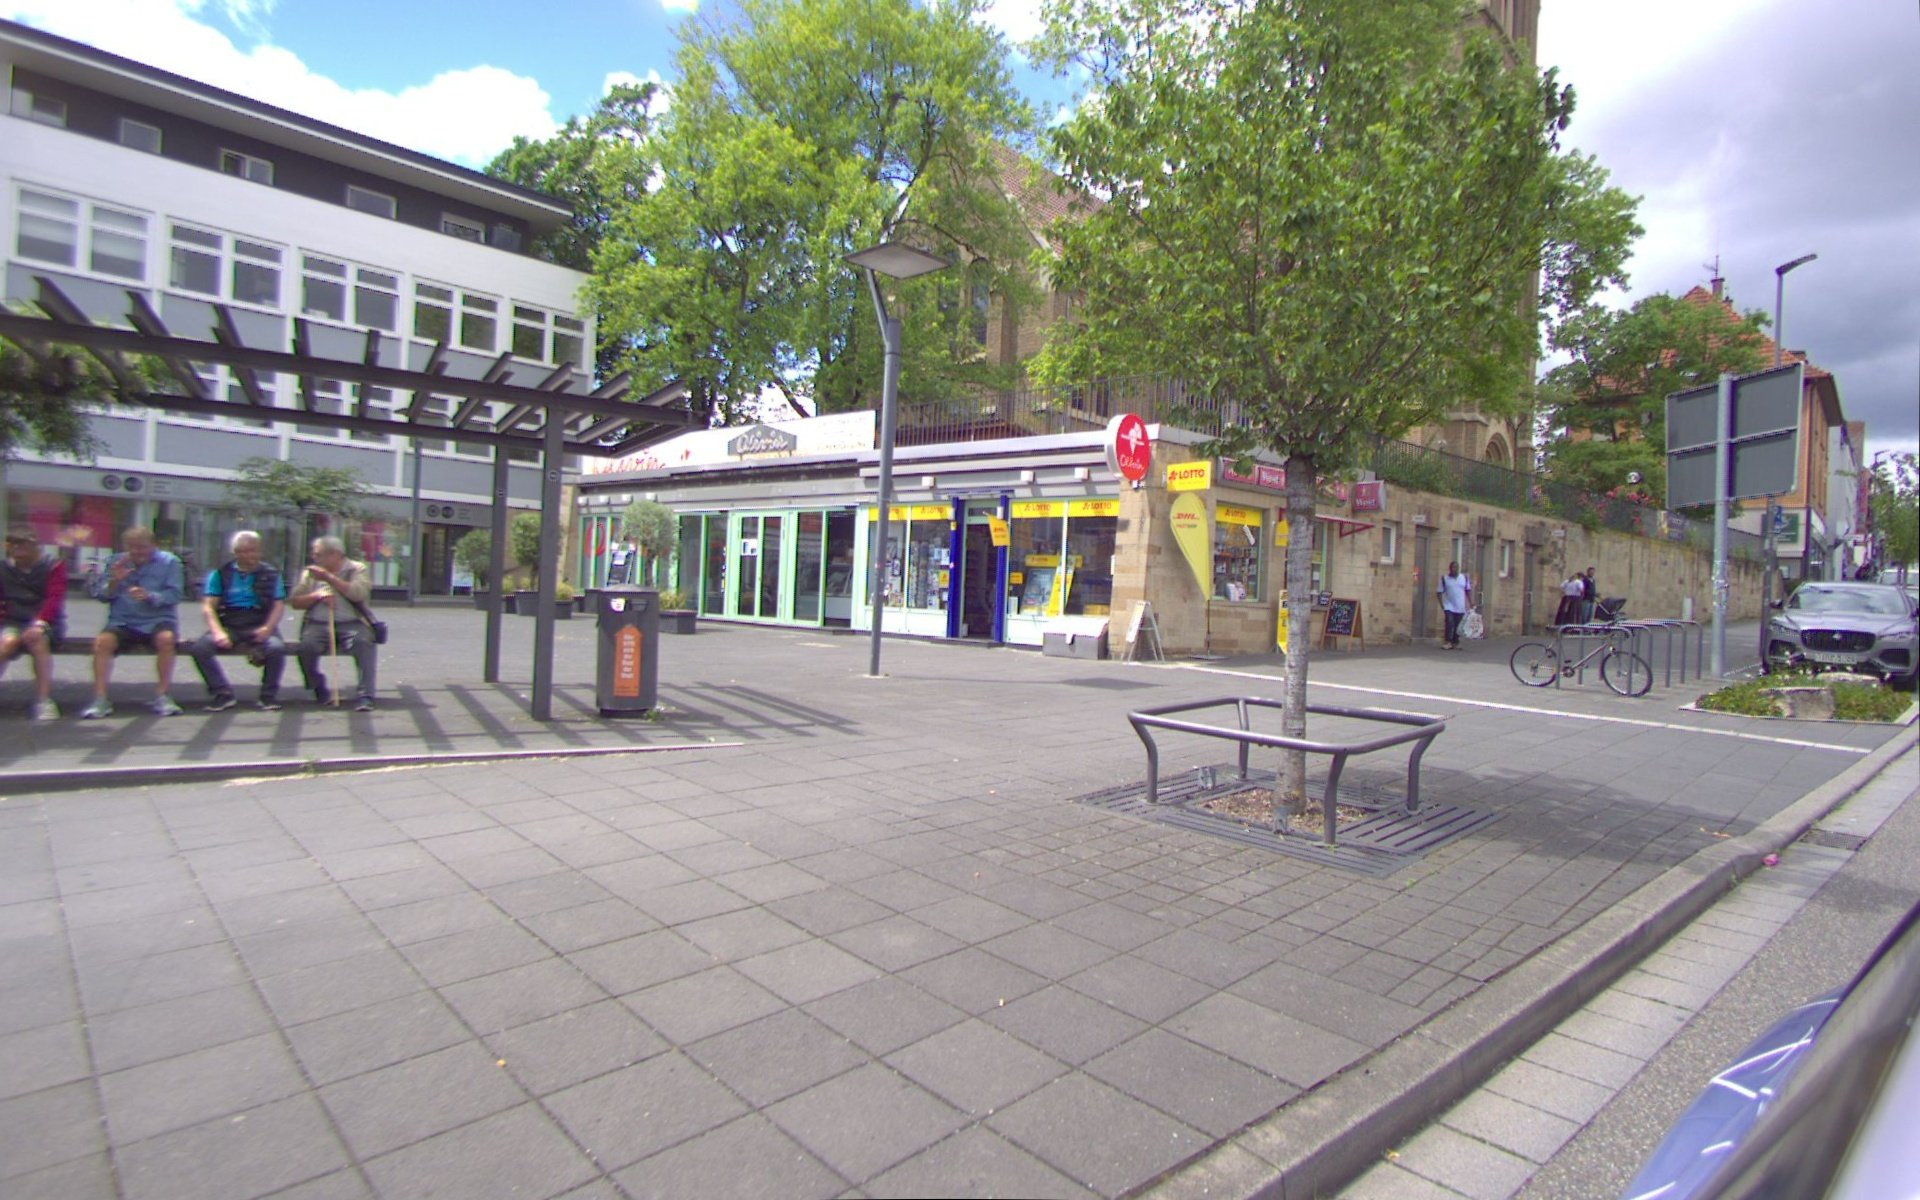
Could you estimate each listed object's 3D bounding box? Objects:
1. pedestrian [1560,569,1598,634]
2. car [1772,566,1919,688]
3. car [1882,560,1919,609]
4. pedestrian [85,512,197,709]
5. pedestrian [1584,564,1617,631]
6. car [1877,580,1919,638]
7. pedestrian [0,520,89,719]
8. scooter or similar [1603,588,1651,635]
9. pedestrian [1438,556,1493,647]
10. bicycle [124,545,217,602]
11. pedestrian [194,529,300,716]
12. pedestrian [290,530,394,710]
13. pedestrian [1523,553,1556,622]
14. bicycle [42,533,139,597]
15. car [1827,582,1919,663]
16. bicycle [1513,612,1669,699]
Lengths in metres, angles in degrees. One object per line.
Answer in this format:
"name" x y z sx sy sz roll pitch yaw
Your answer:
"pedestrian" 15.050 0.021 24.615 0.573 1.542 0.590 1 2 -39
"car" 15.190 0.354 17.032 1.929 1.745 4.501 4 3 44
"car" 39.453 -0.673 41.447 4.943 1.869 1.889 -2 4 -41
"pedestrian" -5.802 0.074 7.191 0.515 1.337 0.500 4 0 -35
"pedestrian" 16.069 -0.069 25.388 0.497 1.665 0.475 -1 3 -33
"car" 27.208 0.227 28.667 1.754 1.458 4.027 3 4 43
"pedestrian" -6.287 0.119 6.807 0.531 1.278 0.570 4 0 -36
"scooter or similar" 16.428 0.267 24.941 0.549 1.085 0.815 -1 3 -33
"pedestrian" 10.055 0.016 20.164 0.751 1.751 0.596 3 2 12
"bicycle" -18.502 -0.625 23.702 2.001 1.156 0.684 5 2 18
"pedestrian" -5.345 0.165 7.592 0.564 1.337 0.497 4 0 -36
"pedestrian" -4.832 0.149 7.911 0.575 1.337 0.618 4 0 -37
"pedestrian" 14.318 -0.318 25.008 0.497 1.665 0.475 -1 3 -33
"bicycle" -19.551 -0.791 22.748 2.000 1.323 0.684 4 2 18
"car" 19.829 0.416 21.503 4.300 1.434 1.683 -3 4 -43
"bicycle" 8.525 0.719 13.723 1.726 1.008 0.340 4 3 42
